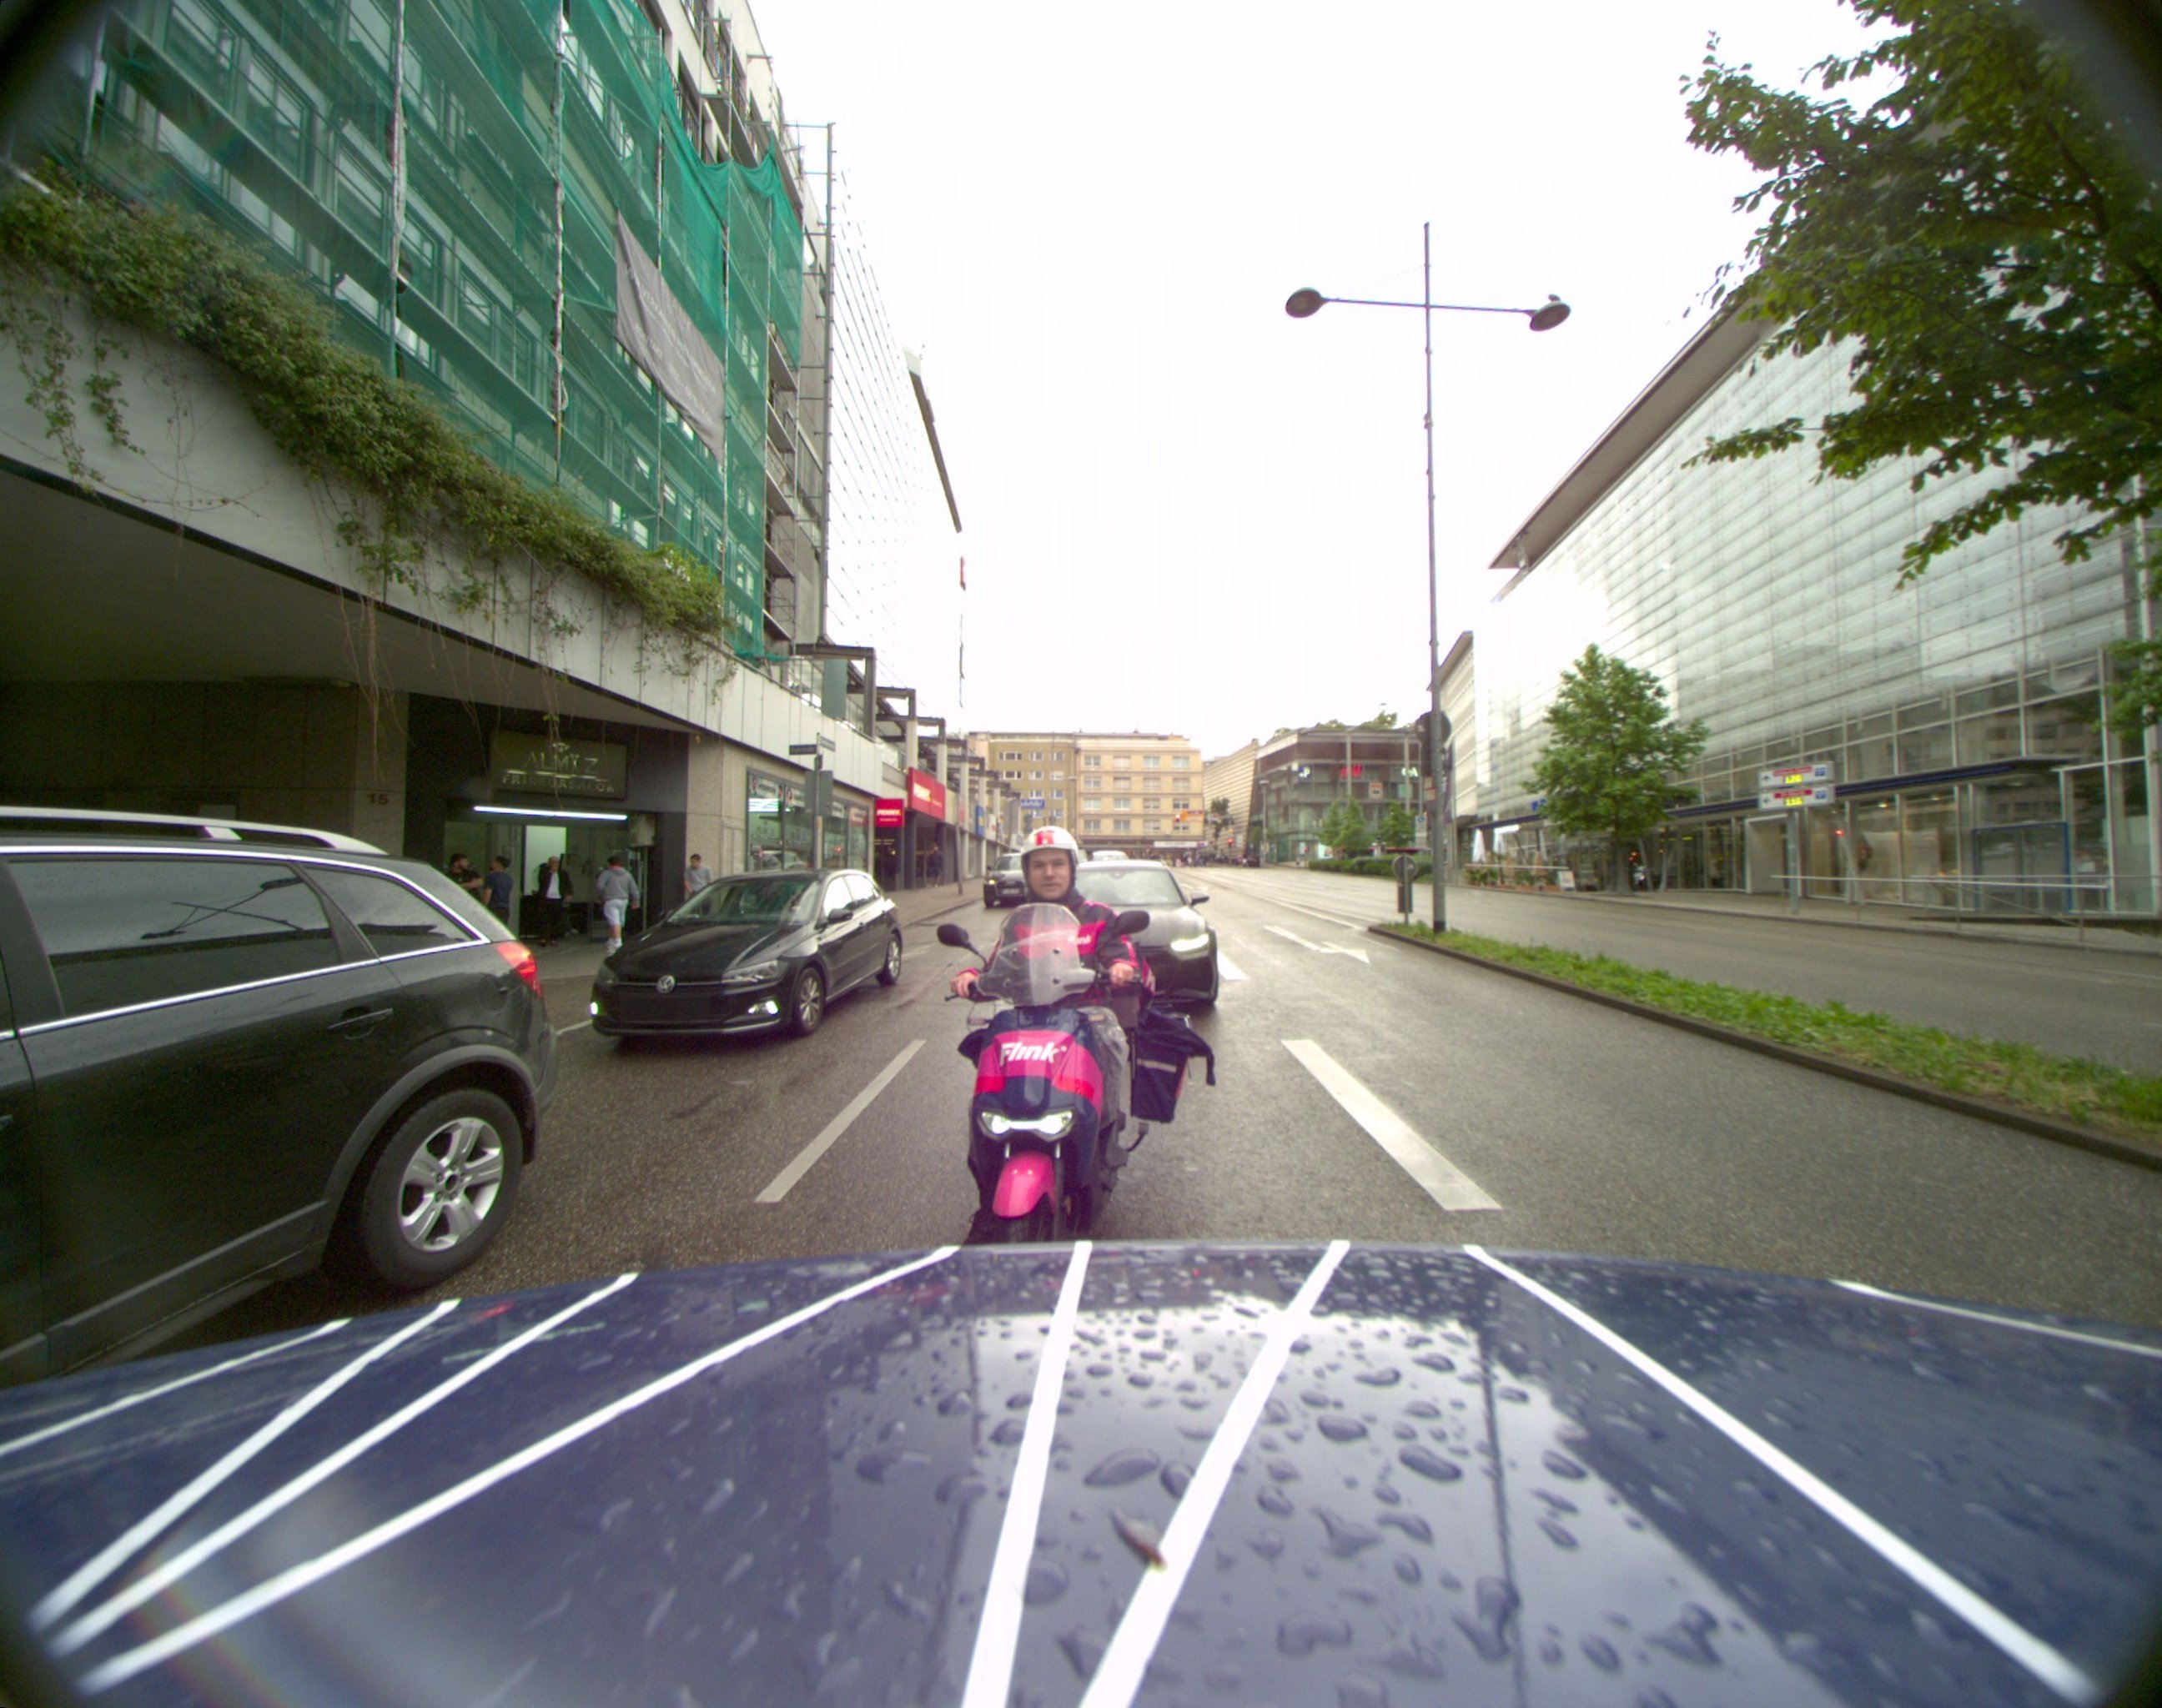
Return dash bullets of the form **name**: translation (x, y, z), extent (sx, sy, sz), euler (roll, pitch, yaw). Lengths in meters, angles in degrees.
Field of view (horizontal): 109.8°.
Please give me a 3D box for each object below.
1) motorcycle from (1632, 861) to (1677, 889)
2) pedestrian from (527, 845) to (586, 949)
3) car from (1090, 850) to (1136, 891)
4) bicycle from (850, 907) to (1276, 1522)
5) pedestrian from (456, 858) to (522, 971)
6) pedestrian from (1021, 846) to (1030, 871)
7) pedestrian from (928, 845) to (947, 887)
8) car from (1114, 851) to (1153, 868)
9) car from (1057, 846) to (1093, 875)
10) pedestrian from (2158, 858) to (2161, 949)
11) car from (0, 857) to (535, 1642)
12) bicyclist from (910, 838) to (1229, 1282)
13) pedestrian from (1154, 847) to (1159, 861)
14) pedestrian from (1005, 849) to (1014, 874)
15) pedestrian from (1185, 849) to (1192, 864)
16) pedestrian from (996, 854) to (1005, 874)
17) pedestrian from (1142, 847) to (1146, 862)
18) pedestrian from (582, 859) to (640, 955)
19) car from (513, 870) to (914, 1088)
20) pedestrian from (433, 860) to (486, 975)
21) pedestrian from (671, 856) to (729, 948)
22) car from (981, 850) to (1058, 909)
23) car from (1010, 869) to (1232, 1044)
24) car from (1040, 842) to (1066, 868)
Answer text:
- **motorcycle**: translation (28.153, 1.033, 37.282), extent (1.707, 1.319, 0.620), euler (0, 1, 1)
- **pedestrian**: translation (-9.511, 0.746, 13.780), extent (0.771, 1.805, 0.745), euler (2, 2, 44)
- **car**: translation (1.299, 0.643, 30.734), extent (1.675, 1.520, 4.165), euler (-2, -1, 2)
- **bicycle**: translation (-0.027, 1.025, 3.398), extent (1.034, 1.279, 2.948), euler (-2, 1, 1)
- **pedestrian**: translation (-8.793, 0.871, 11.308), extent (0.640, 1.586, 0.576), euler (-3, 2, -32)
- **pedestrian**: translation (-3.331, 0.247, 45.722), extent (0.510, 1.492, 0.579), euler (0, 2, 0)
- **pedestrian**: translation (-5.783, 0.486, 30.652), extent (0.578, 1.669, 0.511), euler (1, 2, 22)
- **car**: translation (6.504, 0.697, 94.319), extent (4.588, 2.002, 1.998), euler (0, 1, -10)
- **car**: translation (-0.326, 0.421, 47.689), extent (1.988, 1.696, 4.165), euler (-2, -1, 2)
- **pedestrian**: translation (19.503, 0.878, 13.130), extent (0.635, 1.628, 0.790), euler (-2, 2, 8)
- **car**: translation (-3.335, 0.909, 1.241), extent (1.764, 1.755, 4.164), euler (-2, -1, 1)
- **bicyclist**: translation (-0.031, 0.720, 3.071), extent (1.063, 1.534, 0.825), euler (-2, 2, 0)
- **pedestrian**: translation (8.617, 0.033, 86.682), extent (0.428, 1.620, 0.602), euler (1, 1, 3)
- **pedestrian**: translation (-4.325, 0.466, 45.803), extent (0.510, 1.492, 0.579), euler (0, 2, 0)
- **pedestrian**: translation (12.241, 0.280, 86.475), extent (0.626, 1.764, 0.689), euler (-2, 2, 5)
- **pedestrian**: translation (-4.852, 0.611, 45.815), extent (0.510, 1.160, 0.579), euler (0, 2, 0)
- **pedestrian**: translation (7.093, 0.073, 85.256), extent (0.428, 1.620, 0.602), euler (1, 1, 5)
- **pedestrian**: translation (-8.138, 0.898, 13.183), extent (0.579, 1.618, 0.676), euler (0, 2, -4)
- **car**: translation (-3.152, 0.961, 7.621), extent (1.759, 1.495, 4.165), euler (-2, -1, 3)
- **pedestrian**: translation (-9.586, 0.959, 11.723), extent (0.466, 1.698, 0.484), euler (0, 2, 42)
- **pedestrian**: translation (-7.075, 0.872, 14.132), extent (0.639, 1.633, 0.733), euler (-2, 2, -3)
- **car**: translation (-1.808, 0.714, 23.704), extent (1.841, 1.598, 4.164), euler (-2, 1, 2)
- **car**: translation (0.439, 0.944, 8.707), extent (1.890, 1.392, 4.164), euler (-2, 0, 2)
- **car**: translation (-2.357, 0.050, 63.933), extent (1.605, 2.002, 3.400), euler (-2, 1, 7)
